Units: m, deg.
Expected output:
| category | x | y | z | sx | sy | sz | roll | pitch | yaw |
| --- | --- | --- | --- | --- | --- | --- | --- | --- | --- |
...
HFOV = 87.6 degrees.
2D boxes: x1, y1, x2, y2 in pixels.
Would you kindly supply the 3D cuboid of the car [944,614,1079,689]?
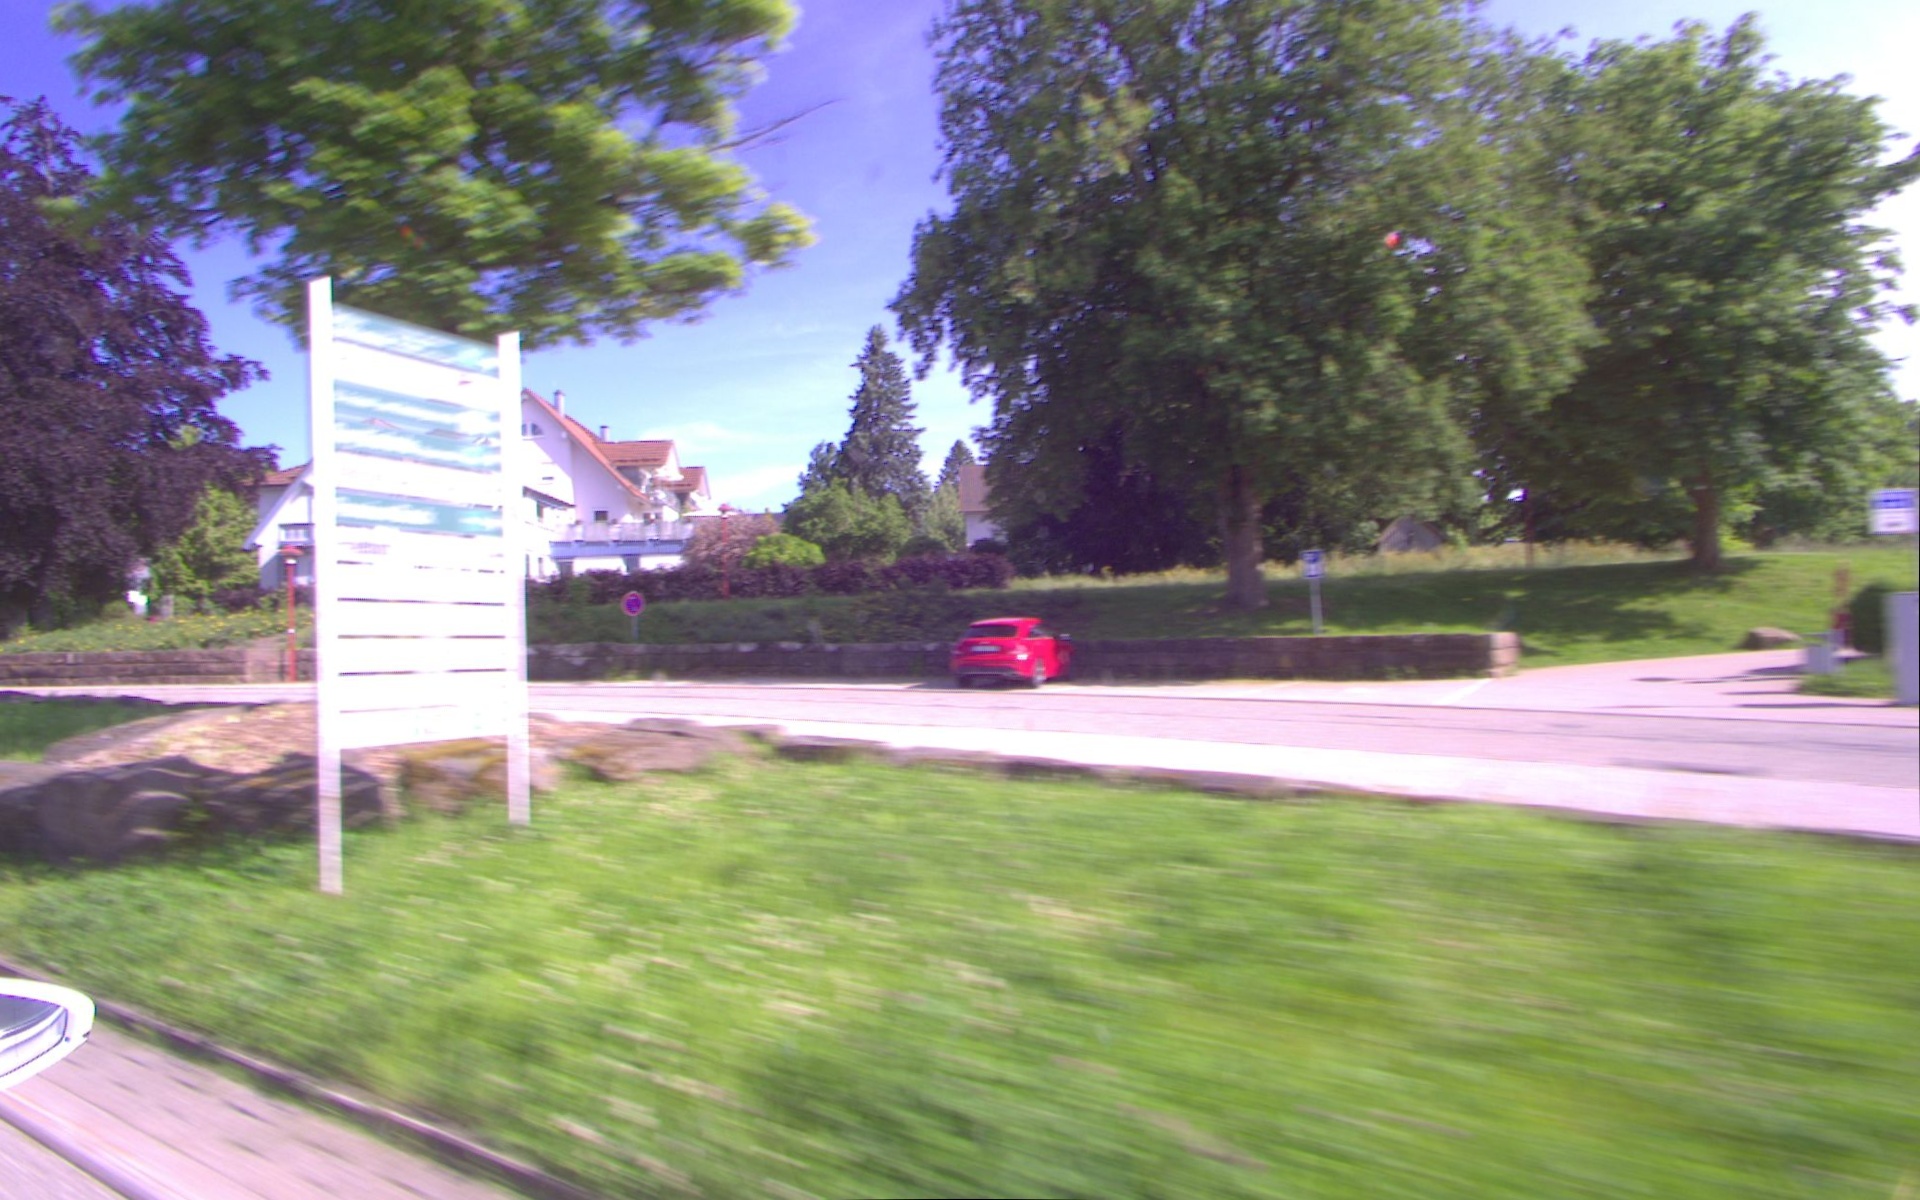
| category | x | y | z | sx | sy | sz | roll | pitch | yaw |
| --- | --- | --- | --- | --- | --- | --- | --- | --- | --- |
| car | 1.225 | 1.049 | 21.694 | 1.673 | 1.447 | 4.257 | -2 | -1 | 21 |
